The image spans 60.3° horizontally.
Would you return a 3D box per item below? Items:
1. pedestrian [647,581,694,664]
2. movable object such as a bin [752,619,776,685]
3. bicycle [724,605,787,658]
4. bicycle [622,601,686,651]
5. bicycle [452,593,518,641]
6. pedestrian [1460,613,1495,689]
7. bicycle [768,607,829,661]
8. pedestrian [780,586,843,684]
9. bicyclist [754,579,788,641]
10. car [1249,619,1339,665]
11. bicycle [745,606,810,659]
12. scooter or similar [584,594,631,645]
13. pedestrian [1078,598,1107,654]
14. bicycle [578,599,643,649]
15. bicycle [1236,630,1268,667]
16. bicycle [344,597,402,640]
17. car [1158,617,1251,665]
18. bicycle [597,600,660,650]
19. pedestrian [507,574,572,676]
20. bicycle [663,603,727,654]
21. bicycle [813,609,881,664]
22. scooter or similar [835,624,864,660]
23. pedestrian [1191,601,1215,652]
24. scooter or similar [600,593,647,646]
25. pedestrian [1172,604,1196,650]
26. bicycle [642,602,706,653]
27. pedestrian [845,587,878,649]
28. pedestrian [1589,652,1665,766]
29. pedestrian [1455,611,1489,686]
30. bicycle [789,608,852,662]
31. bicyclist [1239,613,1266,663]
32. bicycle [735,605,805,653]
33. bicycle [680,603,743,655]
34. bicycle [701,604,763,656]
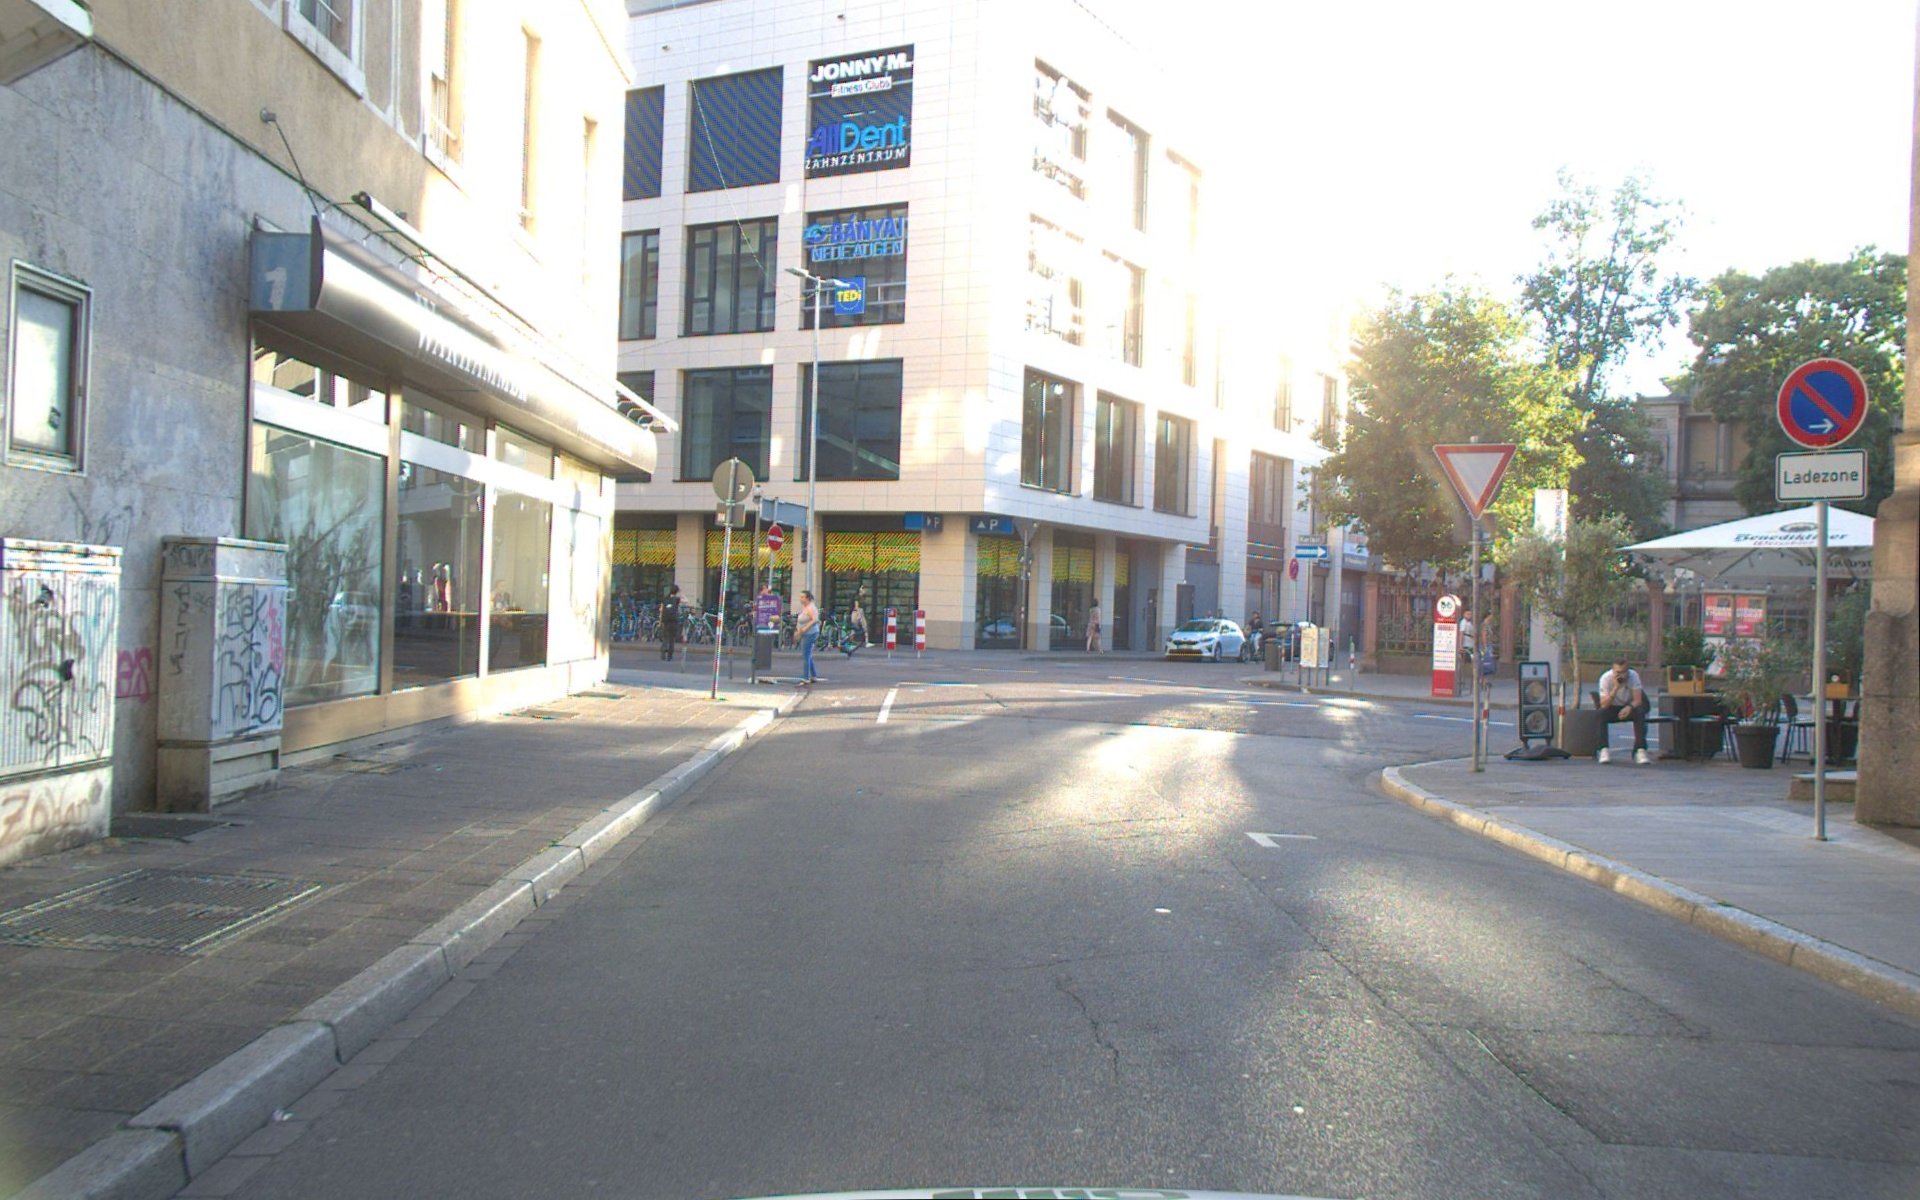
[{"bbox_3d":[-6.102,0.469,34.826,0.855,1.687,0.616,2,-1,-17],"label":"pedestrian"},{"bbox_3d":[-3.299,0.873,27.830,0.352,1.082,0.355,2,-1,-12],"label":"movable object such as a bin"},{"bbox_3d":[-5.163,0.814,41.961,0.502,1.277,1.976,2,-1,28],"label":"bicycle"},{"bbox_3d":[-8.079,0.699,43.740,0.502,1.277,1.976,2,-1,28],"label":"bicycle"},{"bbox_3d":[-13.383,0.487,46.641,0.502,1.277,1.976,2,-1,28],"label":"bicycle"},{"bbox_3d":[11.833,1.161,37.847,0.688,1.699,0.643,2,1,16],"label":"pedestrian"},{"bbox_3d":[-4.015,0.858,41.244,0.502,1.277,1.977,2,-1,26],"label":"bicycle"},{"bbox_3d":[-2.543,0.603,28.365,0.794,1.641,0.727,2,-1,-30],"label":"pedestrian"},{"bbox_3d":[-5.375,0.288,46.976,0.630,1.725,0.683,2,-1,30],"label":"bicyclist"},{"bbox_3d":[12.832,1.601,63.369,1.849,1.626,4.678,2,0,31],"label":"car"},{"bbox_3d":[-4.559,0.836,41.522,0.502,1.277,1.975,2,-1,30],"label":"bicycle"},{"bbox_3d":[-8.813,0.499,41.404,0.379,1.233,1.269,2,-1,28],"label":"scooter or similar"},{"bbox_3d":[4.229,0.832,52.884,0.659,1.775,0.646,2,-1,30],"label":"pedestrian"},{"bbox_3d":[-9.367,0.647,44.375,0.502,1.277,1.976,2,-1,28],"label":"bicycle"},{"bbox_3d":[9.582,1.590,54.229,0.650,1.158,1.821,2,-1,22],"label":"bicycle"},{"bbox_3d":[-18.852,0.590,53.098,1.934,1.277,0.513,2,-1,27],"label":"bicycle"},{"bbox_3d":[8.235,1.364,55.409,1.744,1.478,4.224,2,0,28],"label":"car"},{"bbox_3d":[-8.823,0.669,44.084,0.502,1.277,1.977,2,-1,26],"label":"bicycle"},{"bbox_3d":[-6.966,0.411,27.433,0.716,1.641,0.805,2,-1,9],"label":"pedestrian"},{"bbox_3d":[-6.867,0.746,42.935,0.502,1.277,1.976,2,-1,28],"label":"bicycle"},{"bbox_3d":[-2.753,0.911,40.691,0.651,1.277,2.139,2,-1,26],"label":"bicycle"},{"bbox_3d":[-2.825,1.080,42.294,0.379,0.899,0.769,2,-1,28],"label":"scooter or similar"},{"bbox_3d":[9.111,0.981,62.049,0.659,1.868,0.646,2,-1,27],"label":"pedestrian"},{"bbox_3d":[-8.344,0.497,41.067,0.379,1.282,1.269,2,-1,28],"label":"scooter or similar"},{"bbox_3d":[8.455,1.025,62.444,0.659,1.704,0.646,2,-1,27],"label":"pedestrian"},{"bbox_3d":[-7.466,0.722,43.302,0.502,1.277,1.976,2,-1,28],"label":"bicycle"},{"bbox_3d":[-2.822,0.509,47.350,0.627,1.753,0.838,2,-1,-26],"label":"pedestrian"},{"bbox_3d":[7.572,1.224,18.796,0.593,1.209,0.822,2,0,9],"label":"pedestrian"},{"bbox_3d":[11.935,1.122,38.568,0.688,1.699,0.643,2,1,16],"label":"pedestrian"},{"bbox_3d":[-3.440,0.882,40.997,0.569,1.277,2.042,2,-1,26],"label":"bicycle"},{"bbox_3d":[9.594,1.235,54.272,0.645,1.598,0.863,2,-1,22],"label":"bicyclist"},{"bbox_3d":[-5.414,0.818,47.030,1.935,1.277,0.611,2,-1,29],"label":"bicycle"},{"bbox_3d":[-6.394,0.764,42.635,0.502,1.277,1.976,2,-1,28],"label":"bicycle"},{"bbox_3d":[-5.821,0.788,42.363,0.502,1.277,1.976,2,-1,27],"label":"bicycle"}]
